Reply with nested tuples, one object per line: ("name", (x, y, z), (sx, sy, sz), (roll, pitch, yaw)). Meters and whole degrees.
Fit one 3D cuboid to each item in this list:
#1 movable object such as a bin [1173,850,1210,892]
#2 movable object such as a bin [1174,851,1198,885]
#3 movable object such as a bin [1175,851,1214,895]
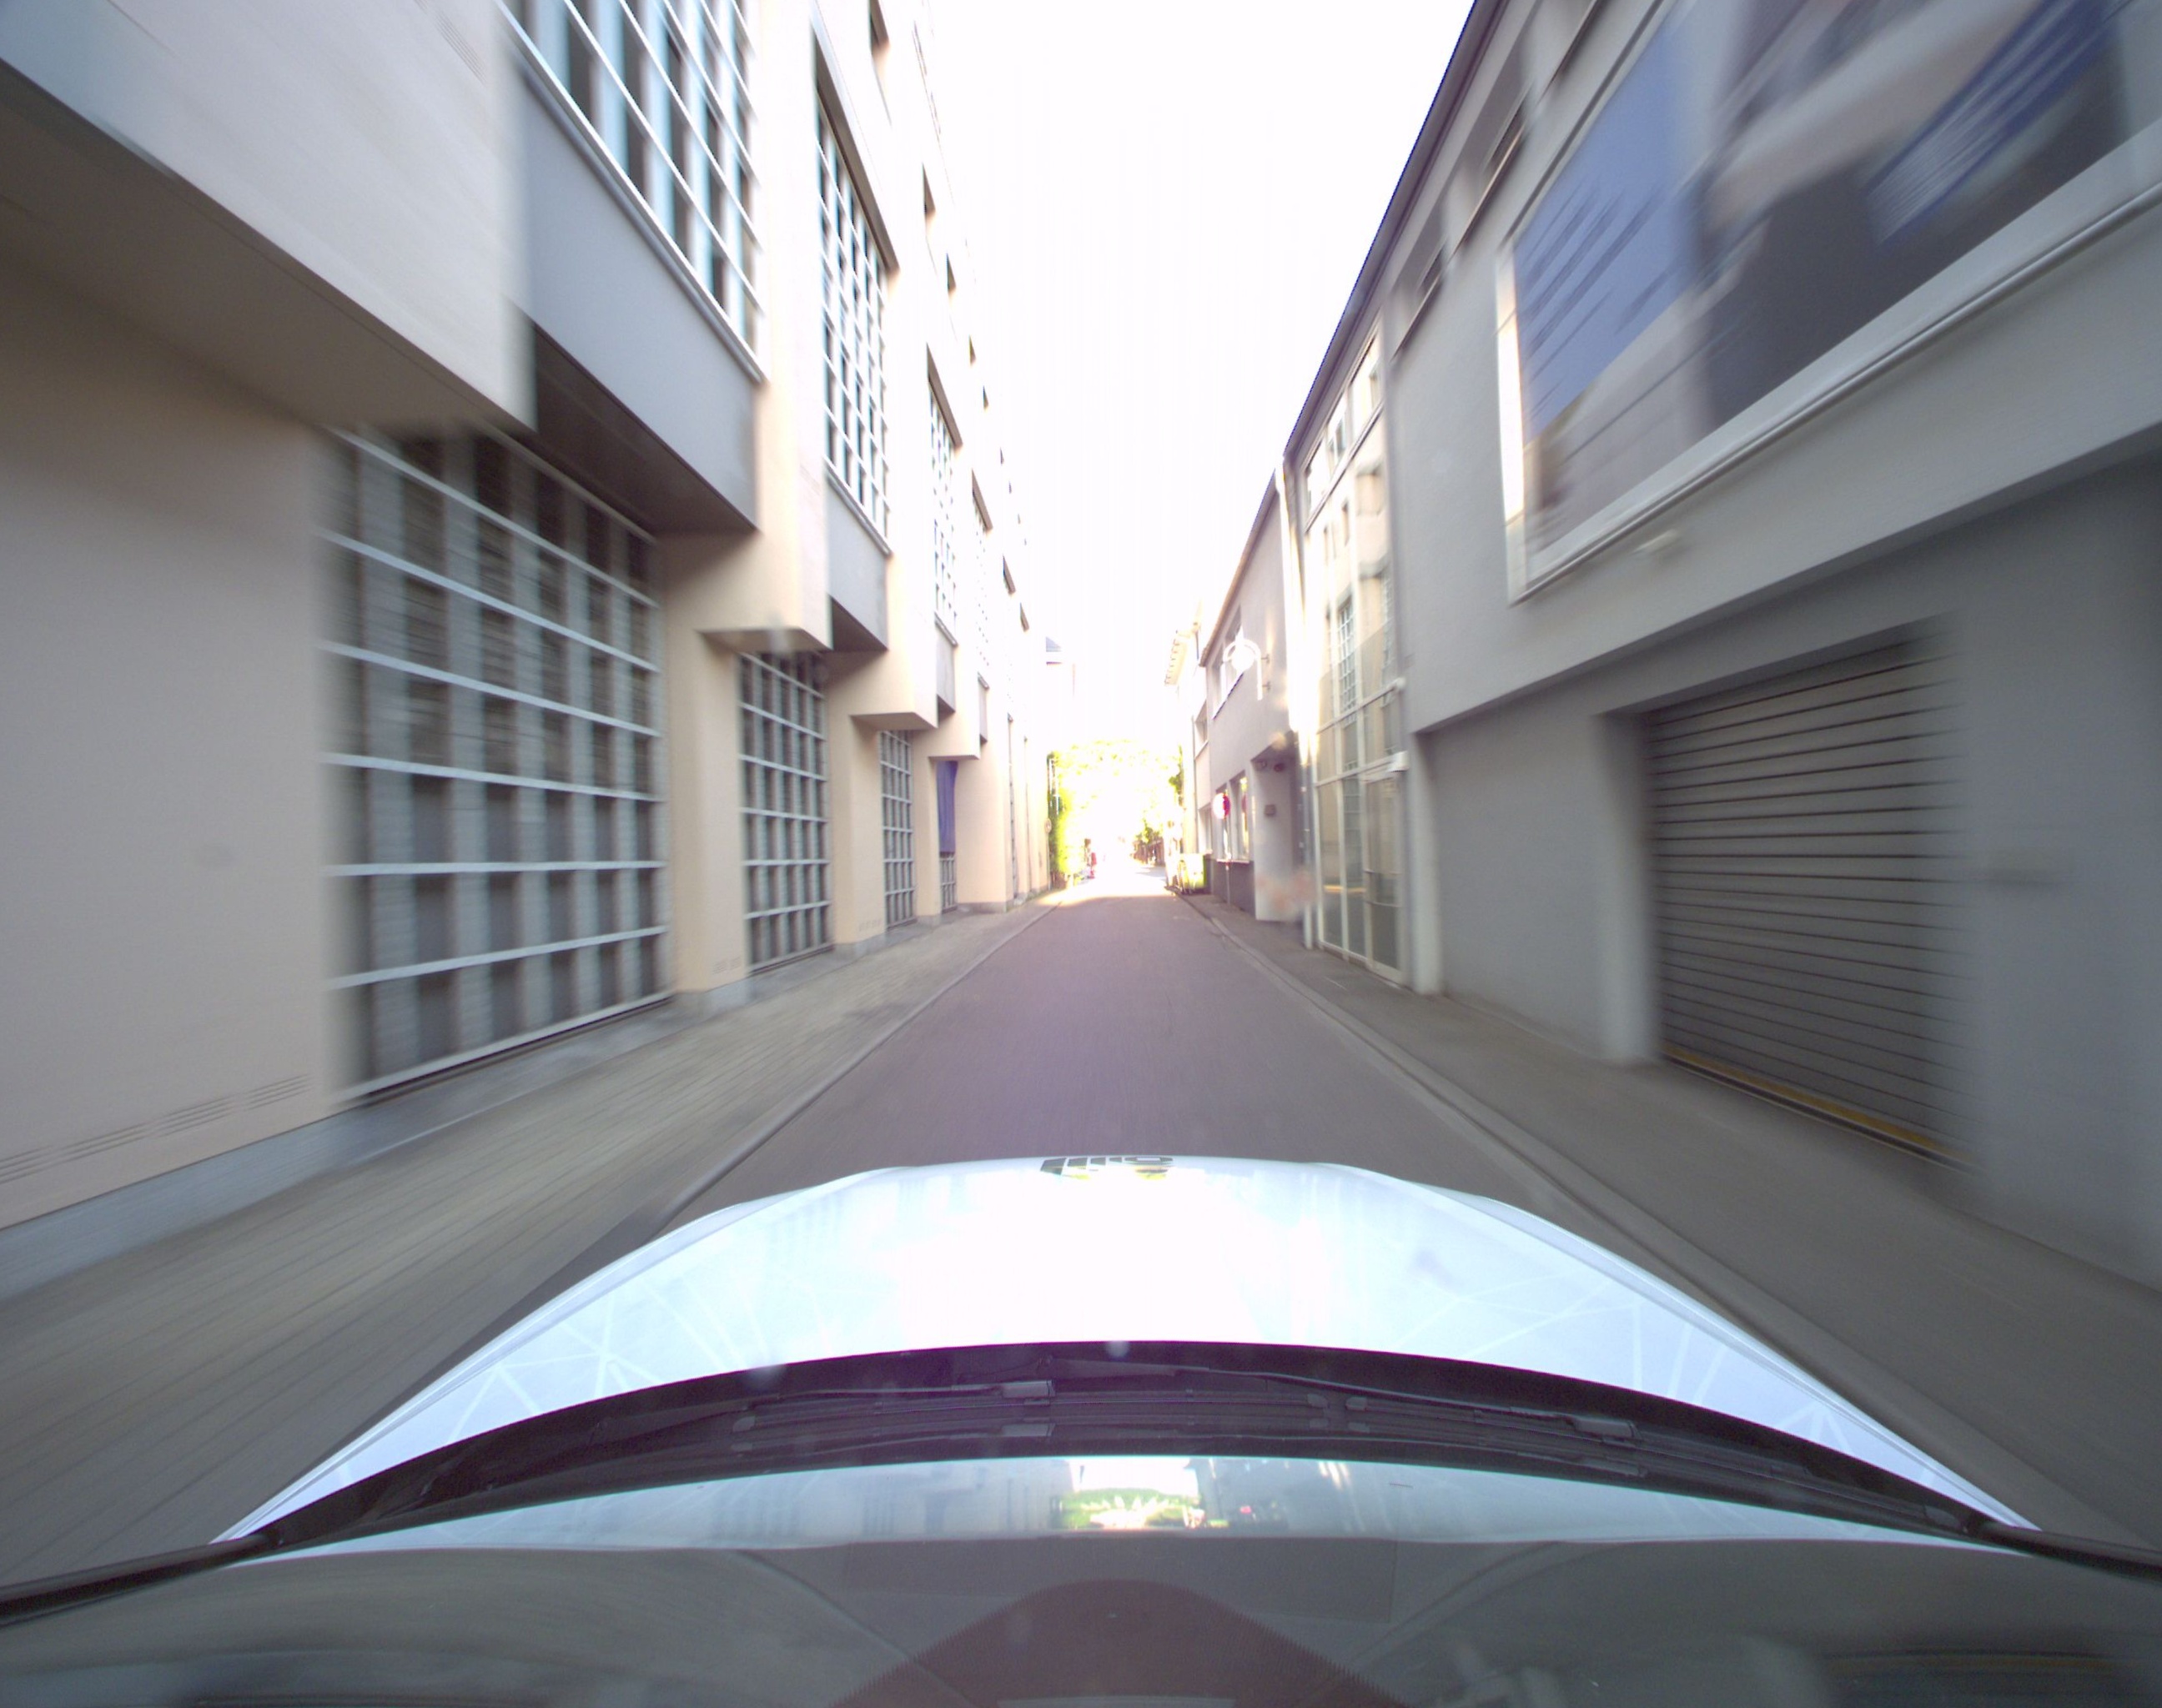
("movable object such as a bin", (3.866, 0.599, 28.575), (1.060, 1.366, 1.342), (-4, 0, 0))
("movable object such as a bin", (4.272, 0.574, 33.217), (0.831, 1.305, 1.292), (-4, 0, 6))
("movable object such as a bin", (3.769, 0.615, 27.172), (0.935, 1.366, 1.340), (-4, 0, -3))
